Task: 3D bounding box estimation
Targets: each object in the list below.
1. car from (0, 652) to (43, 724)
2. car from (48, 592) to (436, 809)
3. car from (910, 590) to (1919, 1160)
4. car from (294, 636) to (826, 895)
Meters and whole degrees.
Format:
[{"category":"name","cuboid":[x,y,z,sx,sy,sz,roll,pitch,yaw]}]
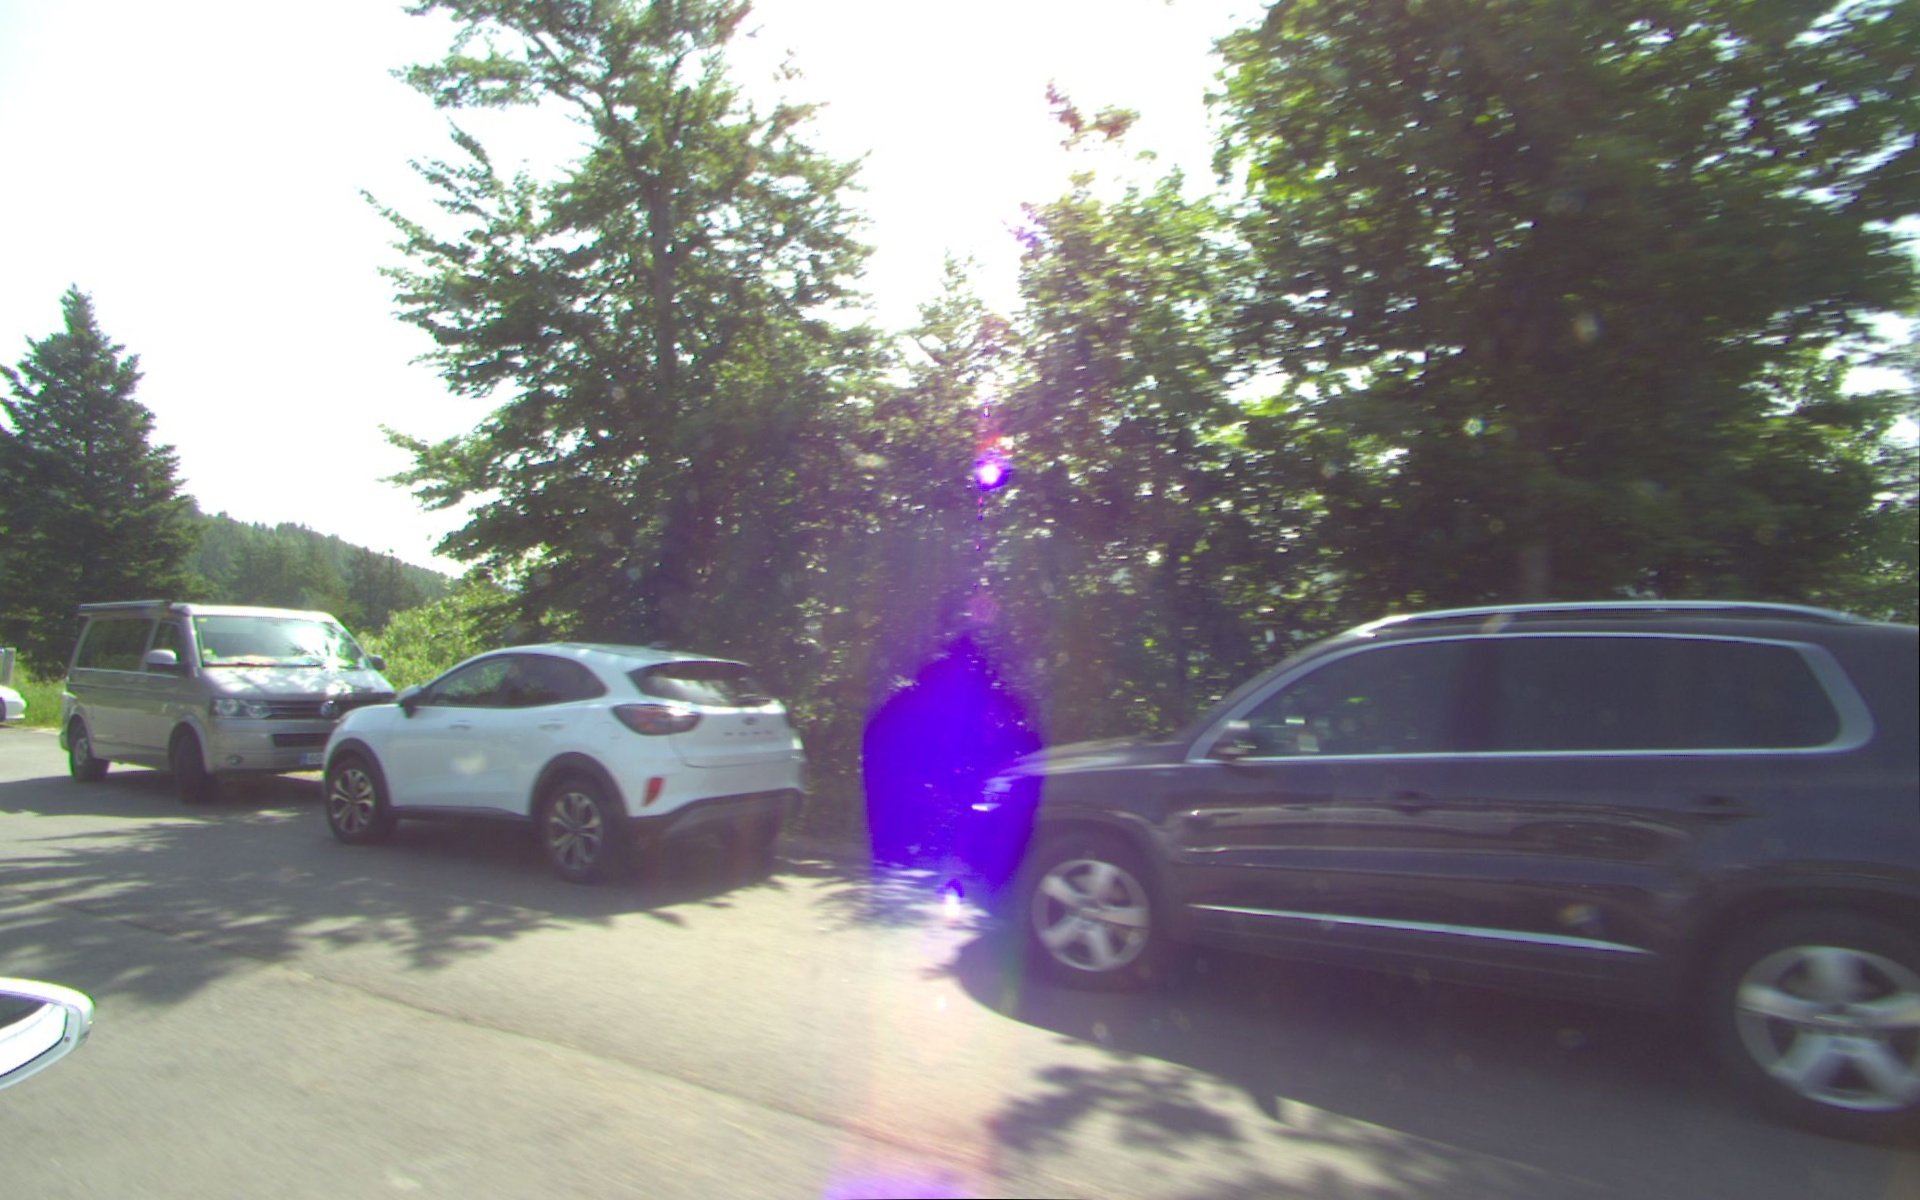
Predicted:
[{"category":"car","cuboid":[-18.965,1.502,17.267,1.553,1.314,4.468,1,-4,15]},{"category":"car","cuboid":[-8.204,1.011,11.313,4.751,1.996,1.903,-1,-4,33]},{"category":"car","cuboid":[2.036,0.887,4.420,4.246,1.651,1.743,-1,-4,31]},{"category":"car","cuboid":[-3.144,1.090,7.720,3.989,1.536,1.679,-1,-5,30]}]
